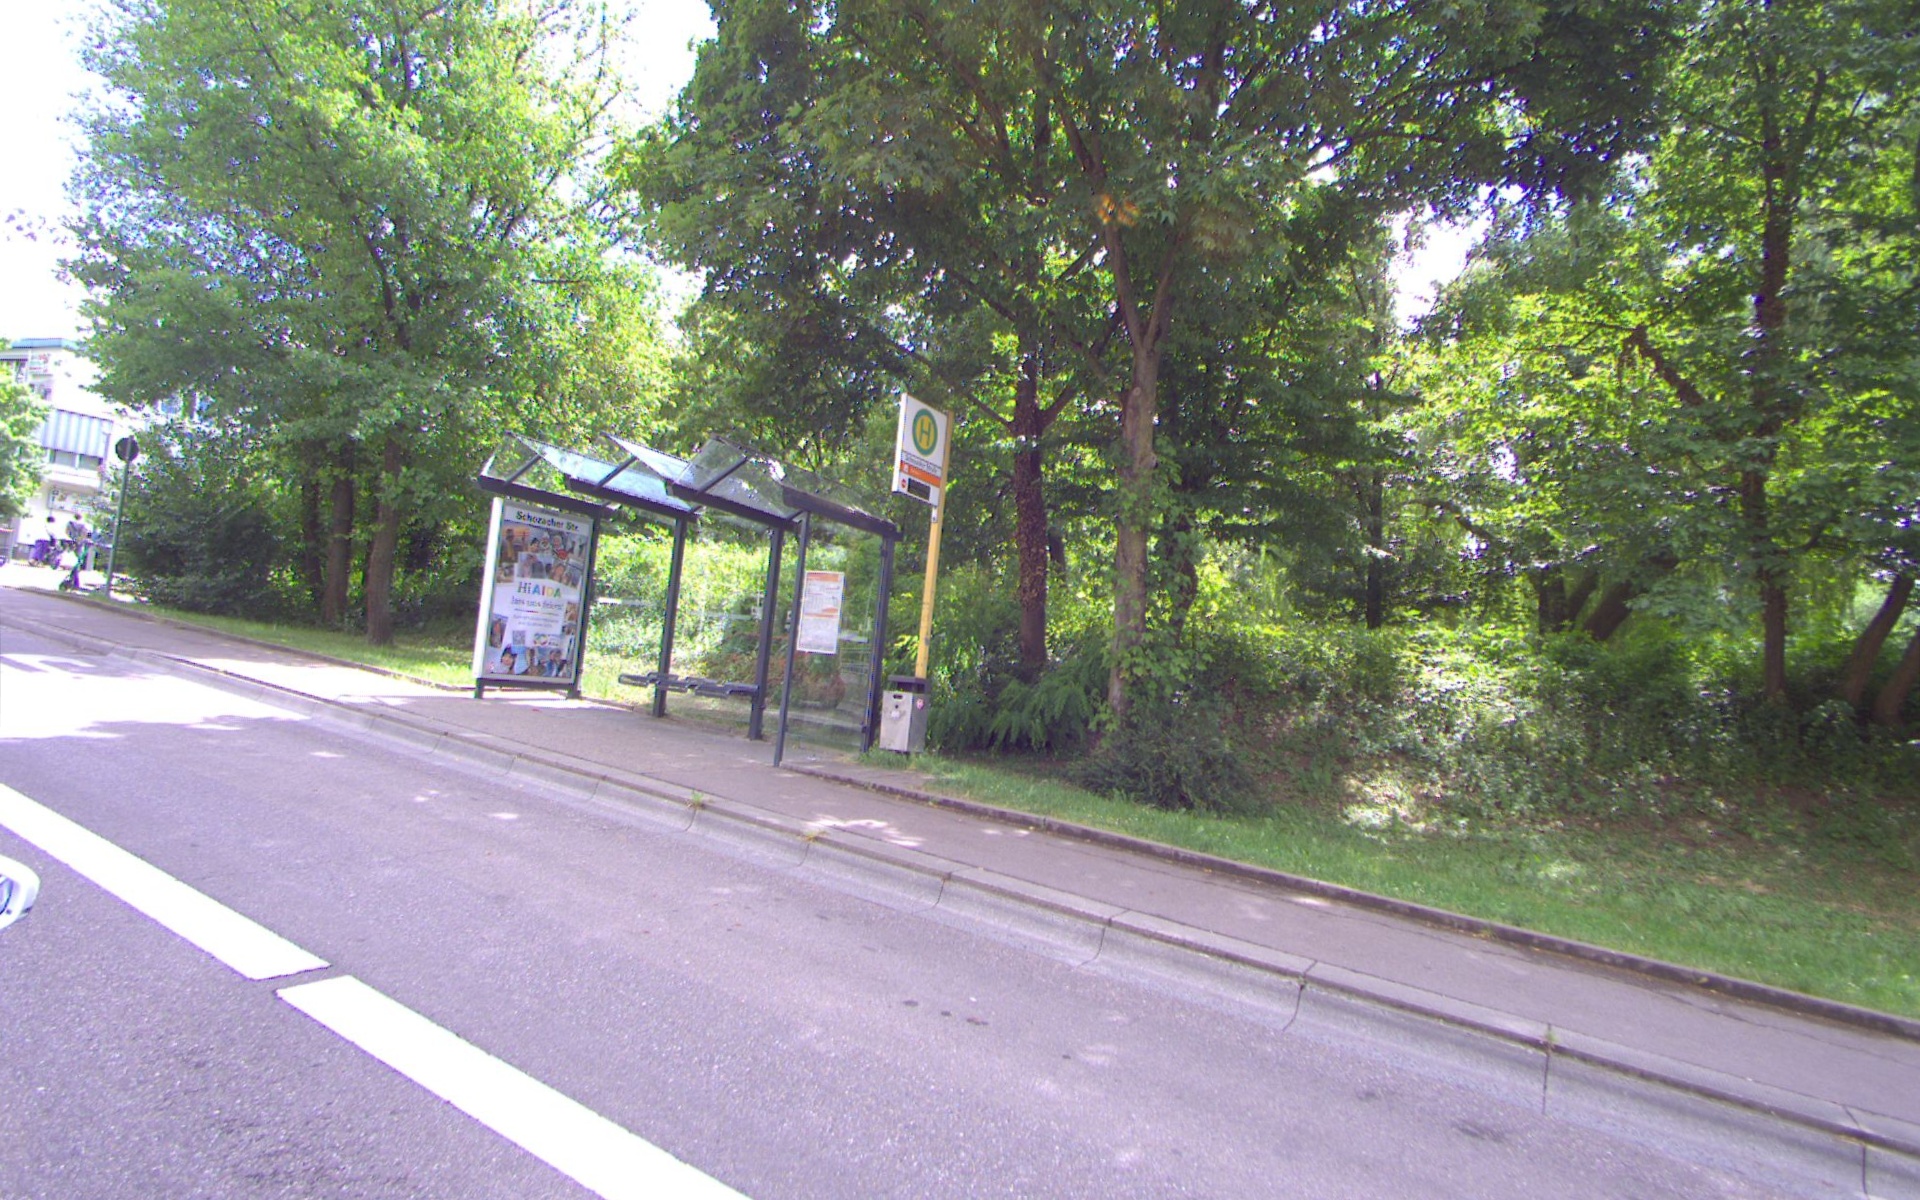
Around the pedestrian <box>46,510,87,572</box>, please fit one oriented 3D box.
[{"bbox_3d":[-26.571,-1.744,29.924,0.653,1.733,0.458,8,-1,-32],"label":"pedestrian"}]

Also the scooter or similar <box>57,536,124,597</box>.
[{"bbox_3d":[-20.244,-0.775,23.426,0.447,1.242,0.893,6,-6,32],"label":"scooter or similar"}]

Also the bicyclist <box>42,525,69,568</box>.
[{"bbox_3d":[-25.846,-1.524,28.748,0.396,1.170,0.498,8,-1,-36],"label":"bicyclist"}]

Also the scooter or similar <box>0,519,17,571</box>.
[{"bbox_3d":[-24.979,-1.480,25.644,0.546,1.286,1.153,6,-3,34],"label":"scooter or similar"}]

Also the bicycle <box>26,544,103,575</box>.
[{"bbox_3d":[-25.679,-1.158,28.882,1.579,0.617,0.528,10,-1,-40],"label":"bicycle"}]

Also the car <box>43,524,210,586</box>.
[{"bbox_3d":[-28.989,-1.519,35.144,1.813,1.503,4.003,7,-2,21],"label":"car"}]
